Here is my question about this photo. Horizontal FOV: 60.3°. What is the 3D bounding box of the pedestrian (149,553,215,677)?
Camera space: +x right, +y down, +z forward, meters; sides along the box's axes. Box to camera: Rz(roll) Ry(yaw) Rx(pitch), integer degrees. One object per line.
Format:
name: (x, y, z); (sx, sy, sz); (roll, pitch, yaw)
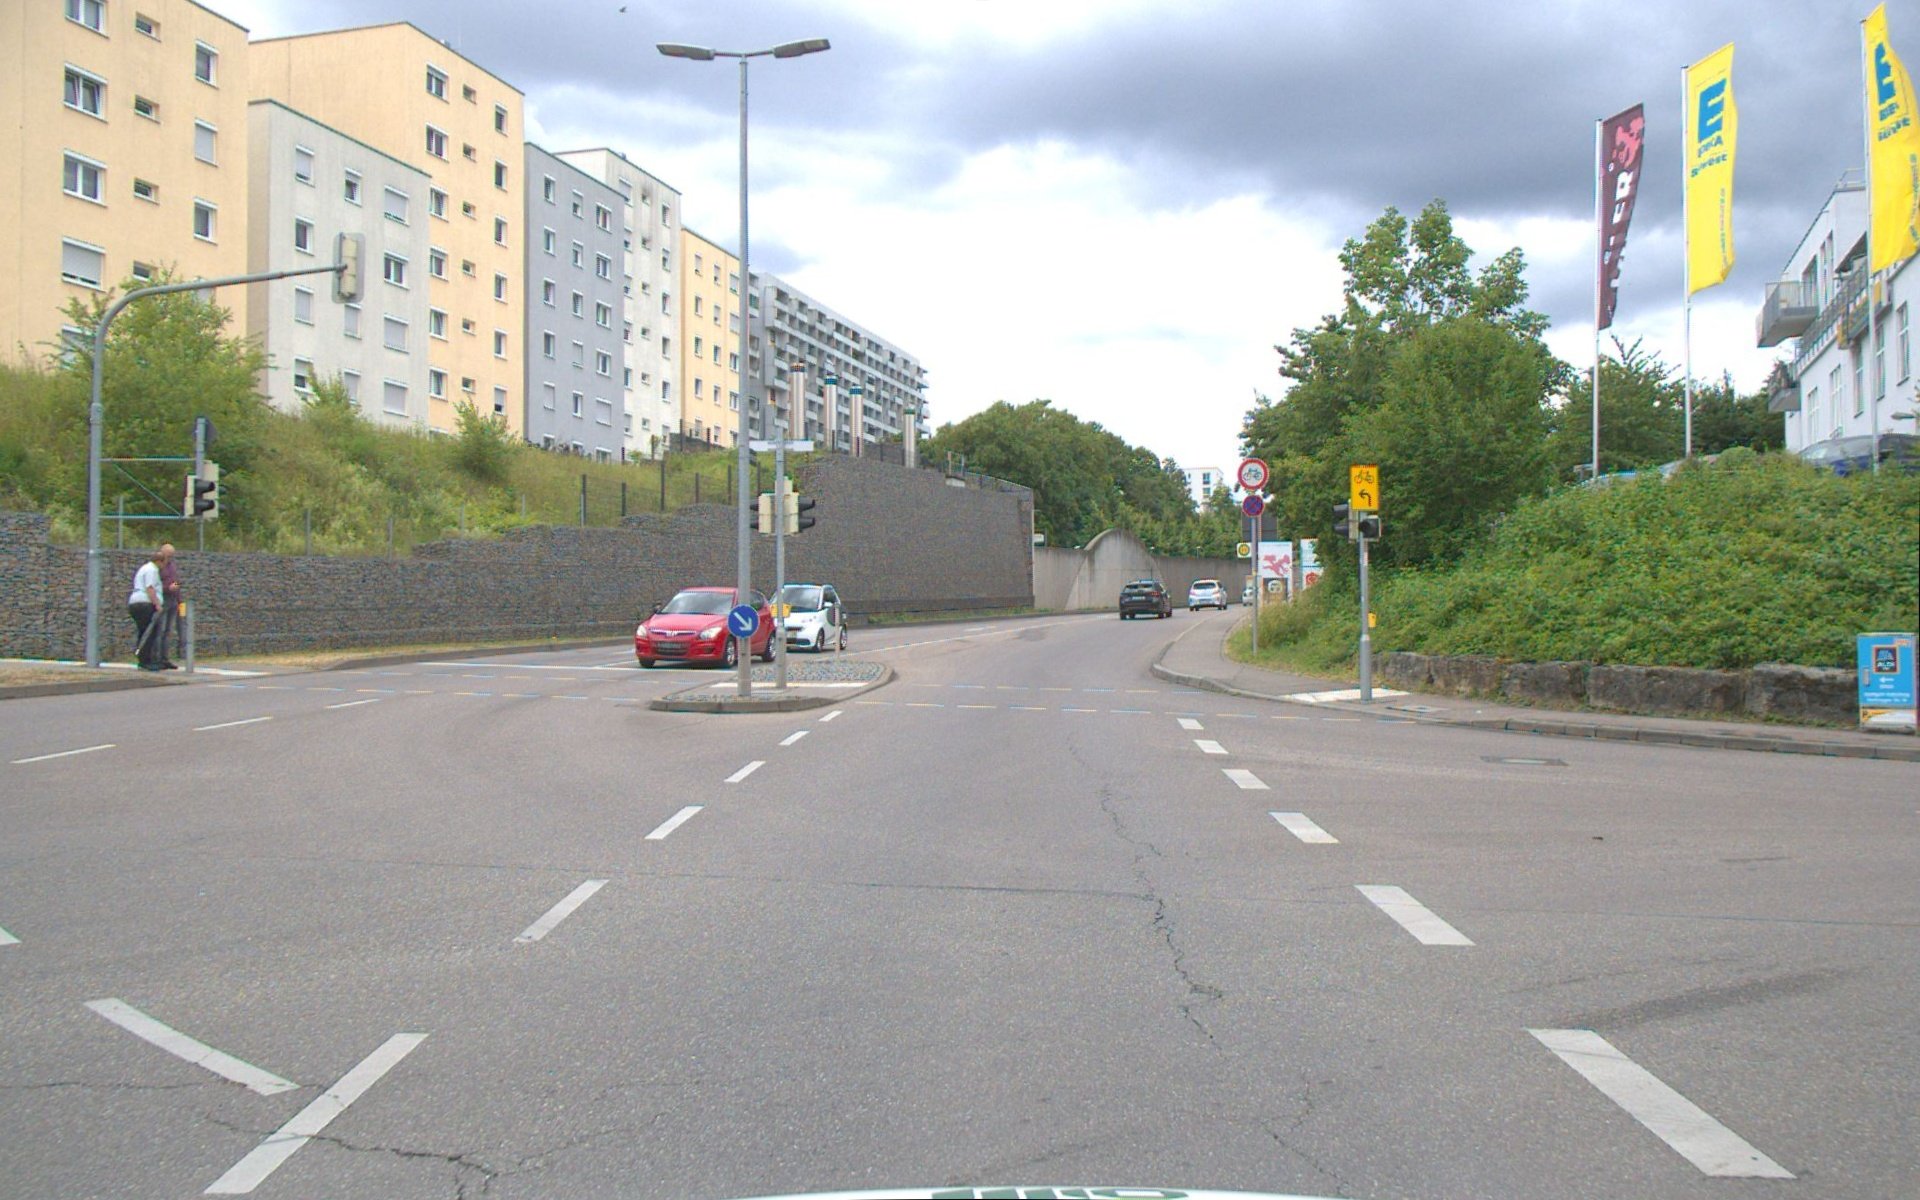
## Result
pedestrian: (-11.944, 0.230, 25.400); (0.609, 1.859, 0.666); (1, -1, 9)

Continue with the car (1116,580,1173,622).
car: (7.345, 0.061, 65.643); (1.717, 1.550, 4.039); (1, -1, 14)

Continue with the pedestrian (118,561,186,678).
pedestrian: (-12.025, 0.288, 24.629); (0.609, 1.708, 0.666); (1, -1, 4)

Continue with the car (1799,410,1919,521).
car: (17.553, -2.355, 30.060); (4.441, 1.667, 1.816); (1, -1, -26)

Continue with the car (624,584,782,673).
car: (-4.821, 0.537, 31.629); (1.717, 1.550, 4.096); (1, -1, 10)

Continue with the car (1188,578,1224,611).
car: (12.284, -0.276, 82.832); (1.717, 1.550, 4.039); (1, -1, 8)

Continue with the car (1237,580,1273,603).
car: (19.617, -0.543, 109.923); (1.827, 1.516, 4.259); (1, 0, 18)

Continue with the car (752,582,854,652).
car: (-3.600, 0.402, 38.377); (1.510, 1.550, 2.916); (1, -1, 12)
